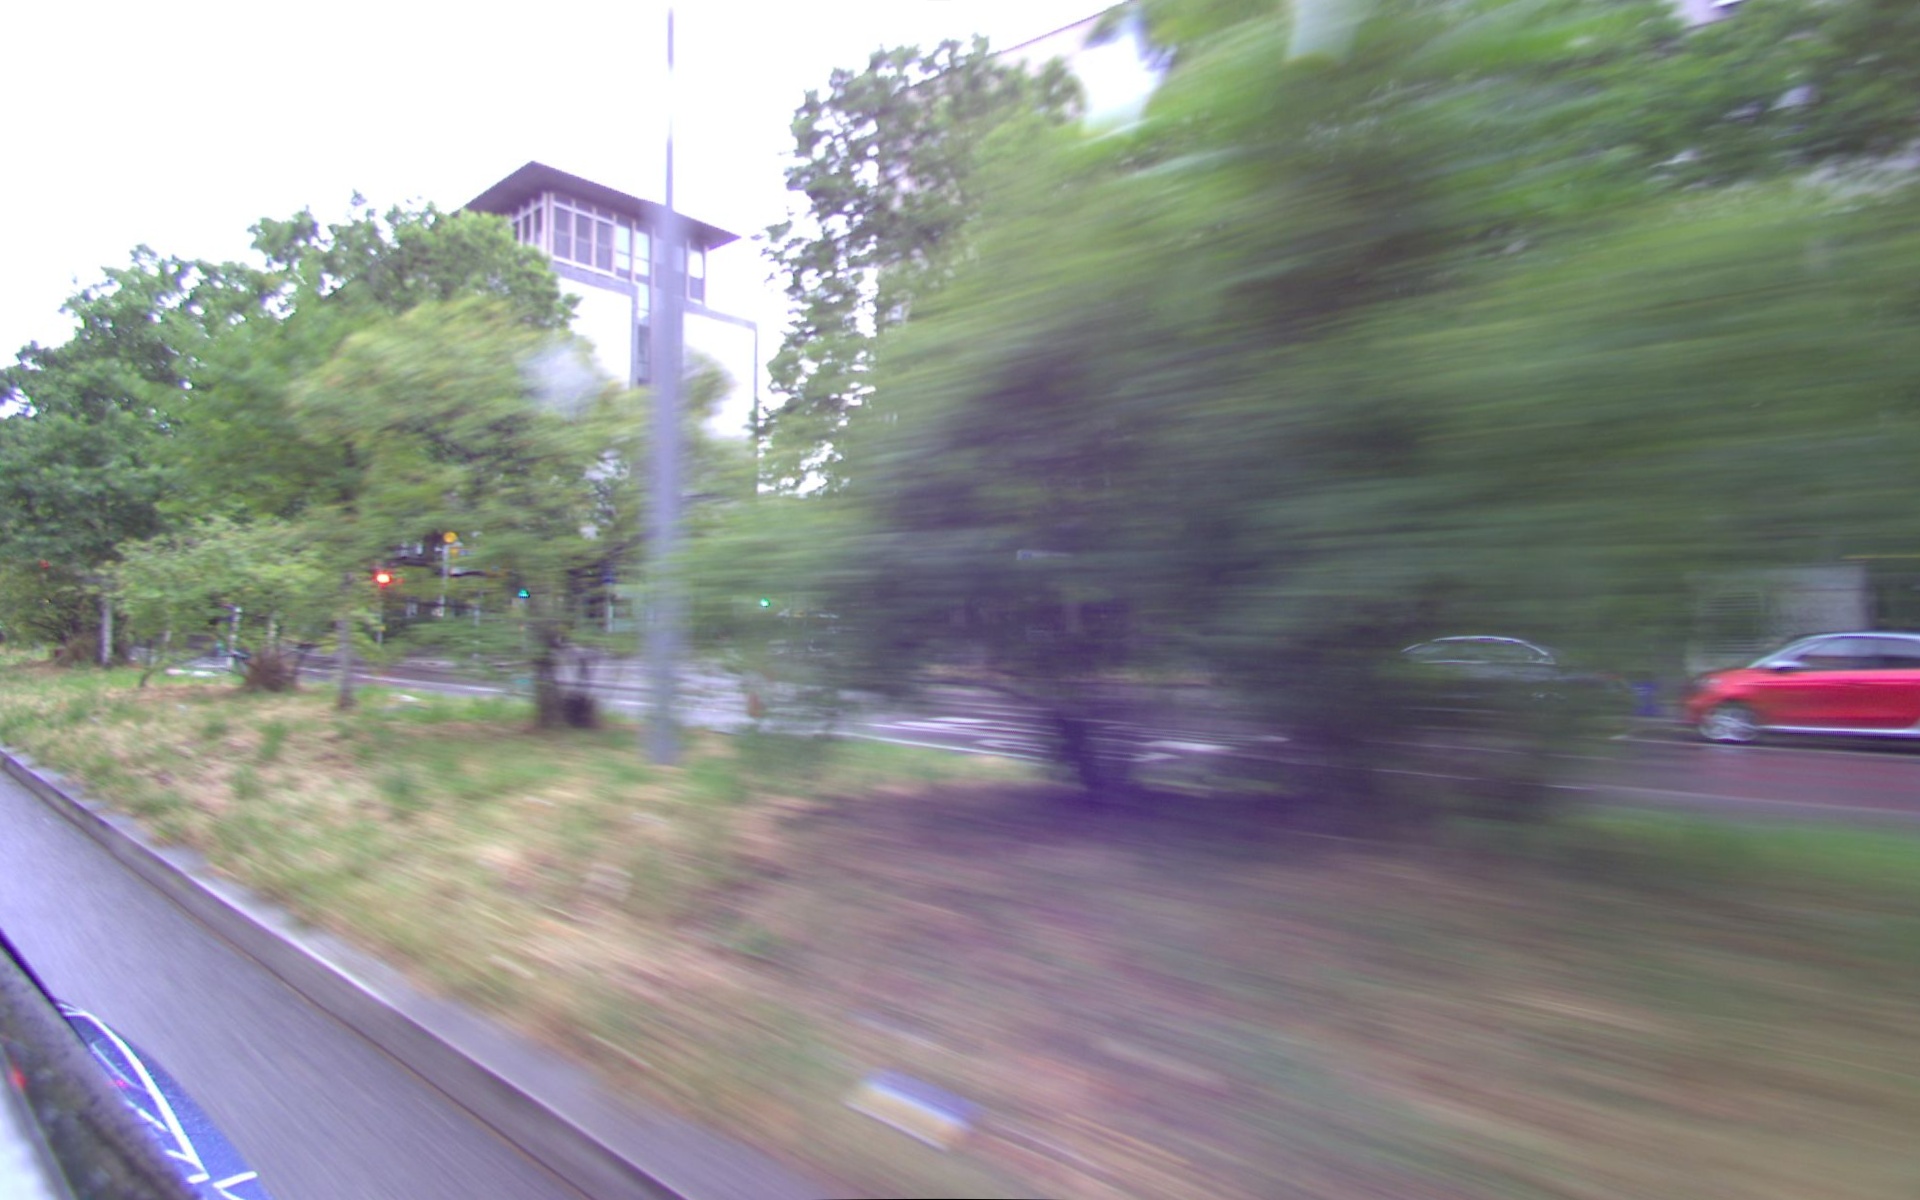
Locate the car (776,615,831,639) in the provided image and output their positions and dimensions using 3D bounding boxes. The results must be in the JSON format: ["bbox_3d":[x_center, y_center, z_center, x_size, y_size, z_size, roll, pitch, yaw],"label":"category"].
[{"bbox_3d":[-12.807,2.206,82.960,4.078,1.852,1.931,0,-1,-41],"label":"car"}]

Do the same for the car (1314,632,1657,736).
[{"bbox_3d":[8.347,1.278,16.342,4.667,1.446,1.750,-1,-4,39],"label":"car"}]

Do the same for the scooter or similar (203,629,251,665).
[{"bbox_3d":[-23.711,1.502,32.750,0.434,1.122,1.170,-1,-1,38],"label":"scooter or similar"}]

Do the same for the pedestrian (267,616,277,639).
[{"bbox_3d":[-53.267,2.141,78.350,0.686,1.721,0.557,-1,-1,42],"label":"pedestrian"}]

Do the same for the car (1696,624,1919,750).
[{"bbox_3d":[11.872,1.117,13.206,3.620,1.531,1.671,-1,-4,38],"label":"car"}]

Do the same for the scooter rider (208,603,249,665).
[{"bbox_3d":[-23.661,1.089,32.732,0.756,1.955,0.891,-1,-1,39],"label":"scooter rider"}]
